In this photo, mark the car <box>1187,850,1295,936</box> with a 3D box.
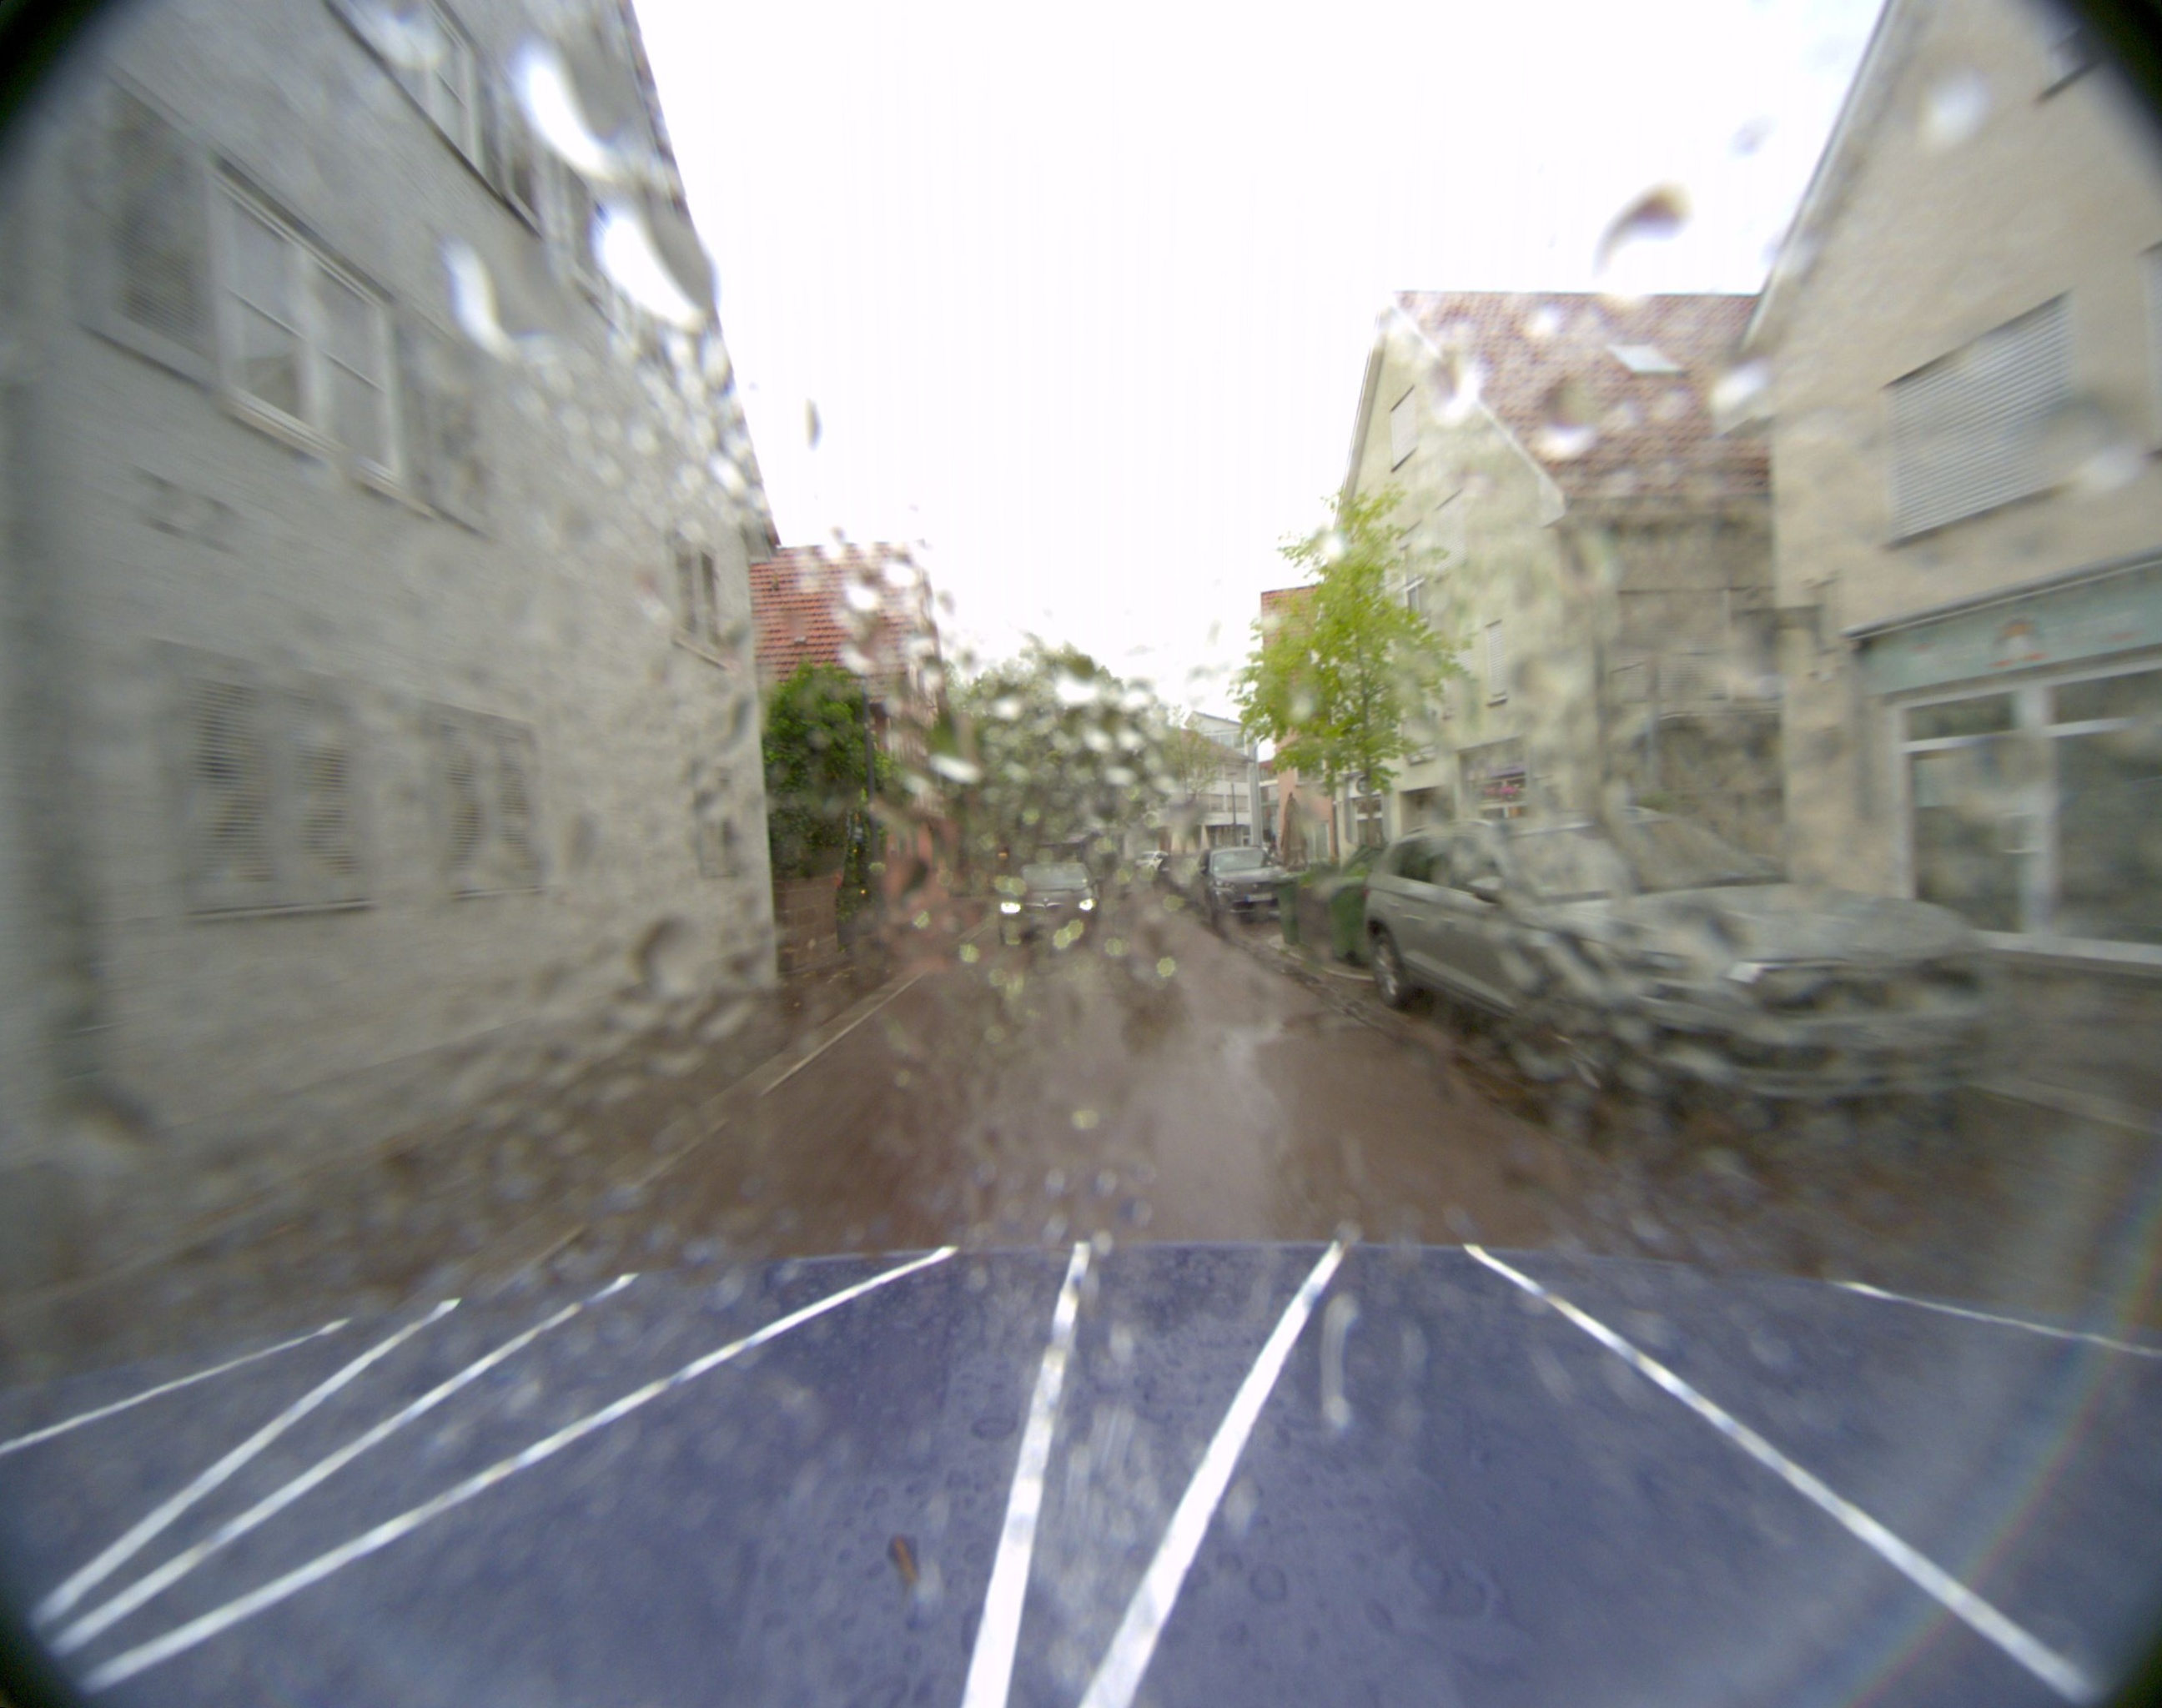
[{"bbox_3d":[3.404,0.748,16.855,1.596,1.537,3.976,-3,1,2],"label":"car"}]

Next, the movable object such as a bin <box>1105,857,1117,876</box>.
[{"bbox_3d":[1.888,0.798,48.126,0.504,1.143,0.581,-2,2,27],"label":"movable object such as a bin"}]

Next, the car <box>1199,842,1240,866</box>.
[{"bbox_3d":[10.974,-0.030,59.948,1.691,1.680,4.285,-2,2,32],"label":"car"}]

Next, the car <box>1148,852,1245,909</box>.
[{"bbox_3d":[3.288,0.726,22.522,1.806,1.424,4.626,-3,-1,-4],"label":"car"}]

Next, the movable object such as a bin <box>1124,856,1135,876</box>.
[{"bbox_3d":[3.038,0.750,47.251,0.477,1.162,0.489,-2,2,27],"label":"movable object such as a bin"}]

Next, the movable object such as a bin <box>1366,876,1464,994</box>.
[{"bbox_3d":[3.713,0.878,8.497,0.746,1.194,0.749,-3,2,2],"label":"movable object such as a bin"}]

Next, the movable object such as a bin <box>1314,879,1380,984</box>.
[{"bbox_3d":[3.234,0.928,9.275,0.603,1.194,0.523,-3,2,3],"label":"movable object such as a bin"}]

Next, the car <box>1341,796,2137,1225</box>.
[{"bbox_3d":[3.483,0.607,5.375,1.776,1.665,4.479,-4,1,2],"label":"car"}]

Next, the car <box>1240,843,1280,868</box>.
[{"bbox_3d":[11.433,0.062,48.430,1.691,1.414,3.822,-2,1,24],"label":"car"}]

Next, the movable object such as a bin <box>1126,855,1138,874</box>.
[{"bbox_3d":[3.209,0.684,47.604,0.534,1.143,0.501,-2,2,27],"label":"movable object such as a bin"}]

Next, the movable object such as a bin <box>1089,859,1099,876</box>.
[{"bbox_3d":[0.837,0.866,48.843,0.430,1.041,0.501,-2,2,27],"label":"movable object such as a bin"}]

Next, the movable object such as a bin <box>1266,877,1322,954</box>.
[{"bbox_3d":[3.228,0.924,11.560,0.622,1.073,0.725,-3,2,2],"label":"movable object such as a bin"}]

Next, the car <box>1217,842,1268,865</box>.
[{"bbox_3d":[11.915,-0.016,55.965,1.994,1.445,4.007,-2,2,40],"label":"car"}]

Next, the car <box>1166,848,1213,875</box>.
[{"bbox_3d":[7.844,0.511,54.703,1.691,1.680,3.964,-2,2,34],"label":"car"}]

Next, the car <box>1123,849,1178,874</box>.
[{"bbox_3d":[4.690,0.469,50.557,1.691,1.530,4.412,-2,0,34],"label":"car"}]

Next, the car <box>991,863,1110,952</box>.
[{"bbox_3d":[-0.725,0.953,15.637,1.999,1.398,4.891,-3,0,-5],"label":"car"}]

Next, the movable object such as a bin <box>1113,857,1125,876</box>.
[{"bbox_3d":[2.376,0.762,47.659,0.545,1.143,0.586,-2,2,27],"label":"movable object such as a bin"}]
